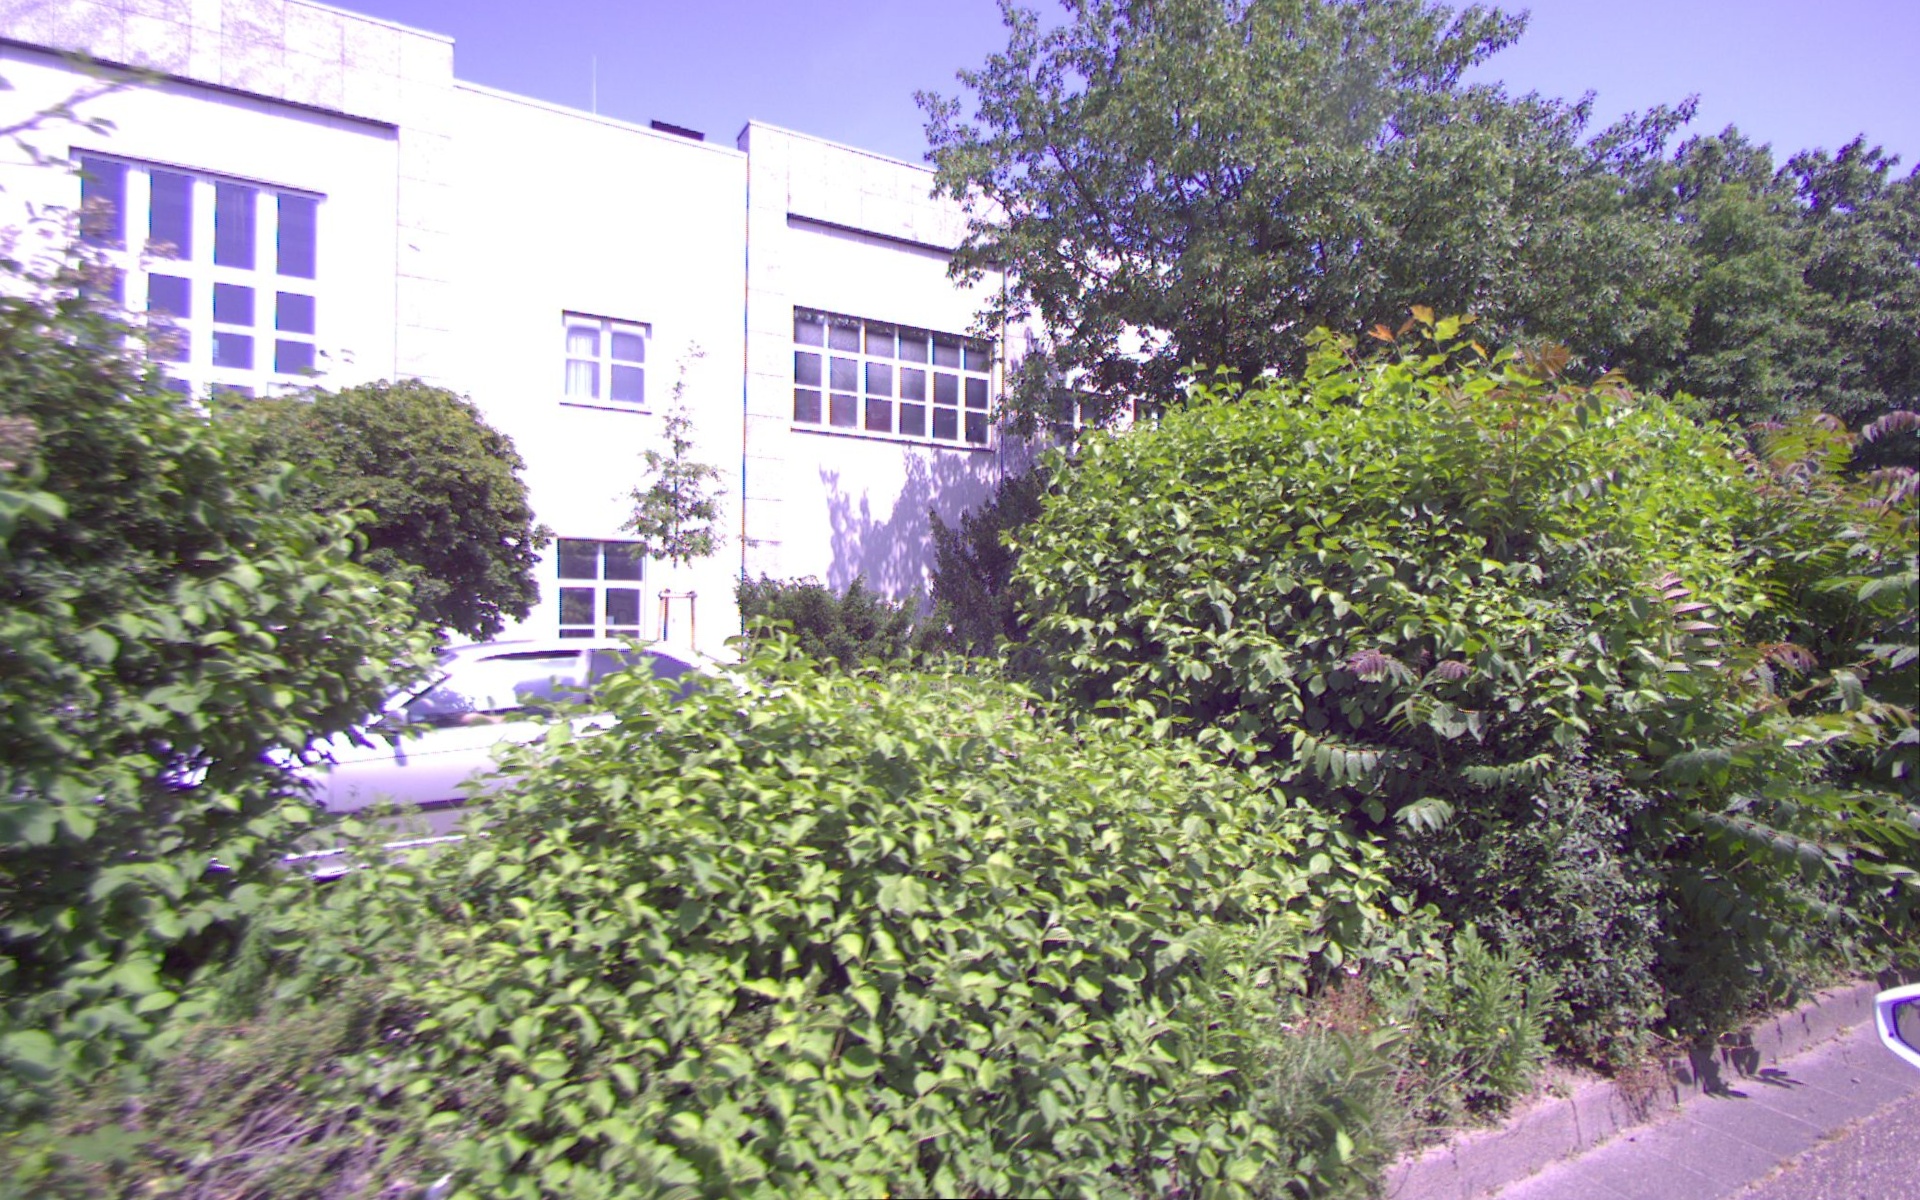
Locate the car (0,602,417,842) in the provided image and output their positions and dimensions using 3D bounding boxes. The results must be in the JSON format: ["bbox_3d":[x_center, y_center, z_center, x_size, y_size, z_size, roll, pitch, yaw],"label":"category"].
[{"bbox_3d":[-6.487,0.887,8.156,3.588,1.673,1.680,2,-1,-30],"label":"car"}]

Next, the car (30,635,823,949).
[{"bbox_3d":[-2.936,0.938,6.216,3.841,1.394,1.619,1,-4,-32],"label":"car"}]
